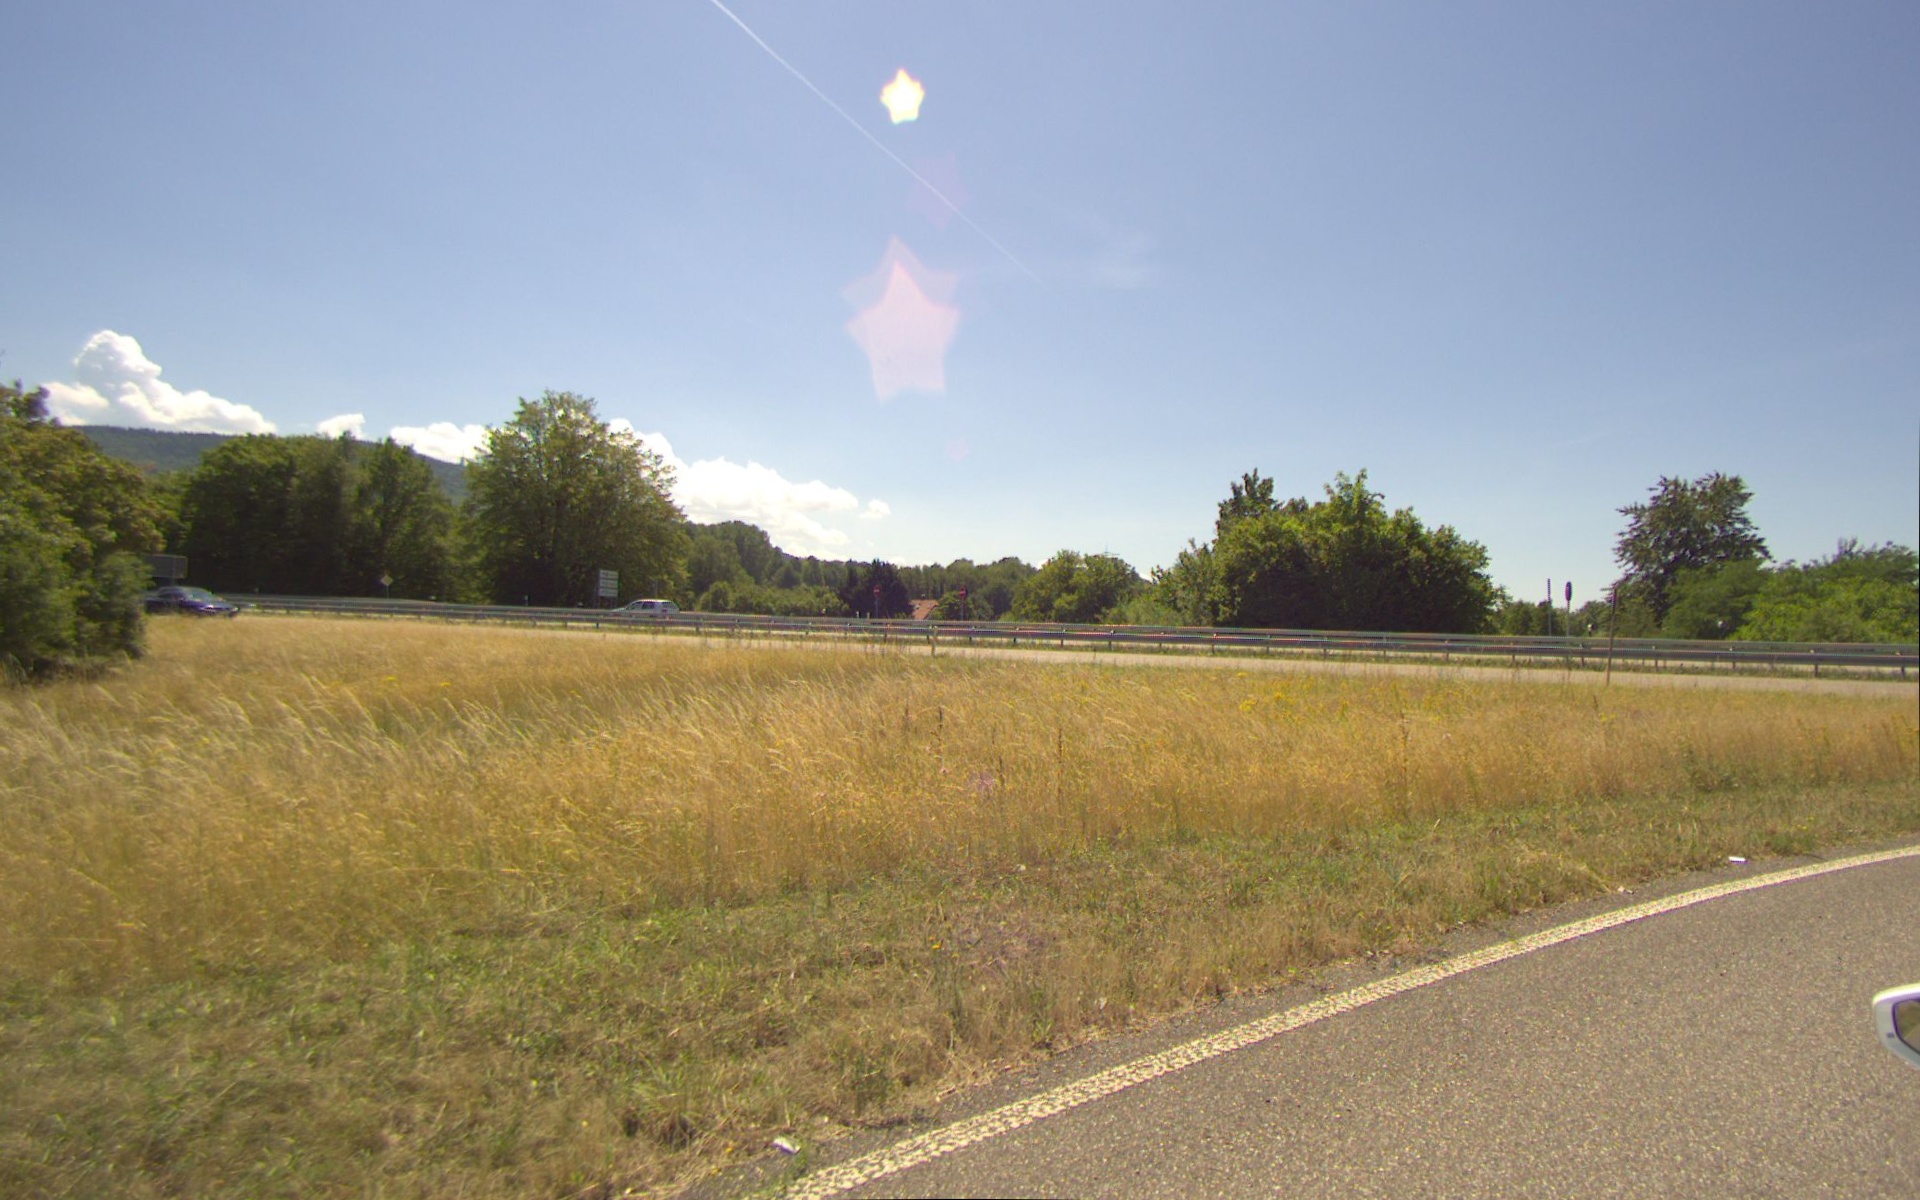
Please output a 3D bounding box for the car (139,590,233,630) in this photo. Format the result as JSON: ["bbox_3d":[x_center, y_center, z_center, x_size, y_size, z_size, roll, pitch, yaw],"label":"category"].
[{"bbox_3d":[-38.116,0.488,49.470,3.924,1.706,1.999,3,-1,25],"label":"car"}]

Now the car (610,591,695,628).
[{"bbox_3d":[-17.215,0.557,56.229,4.145,1.813,2.000,3,-1,23],"label":"car"}]
